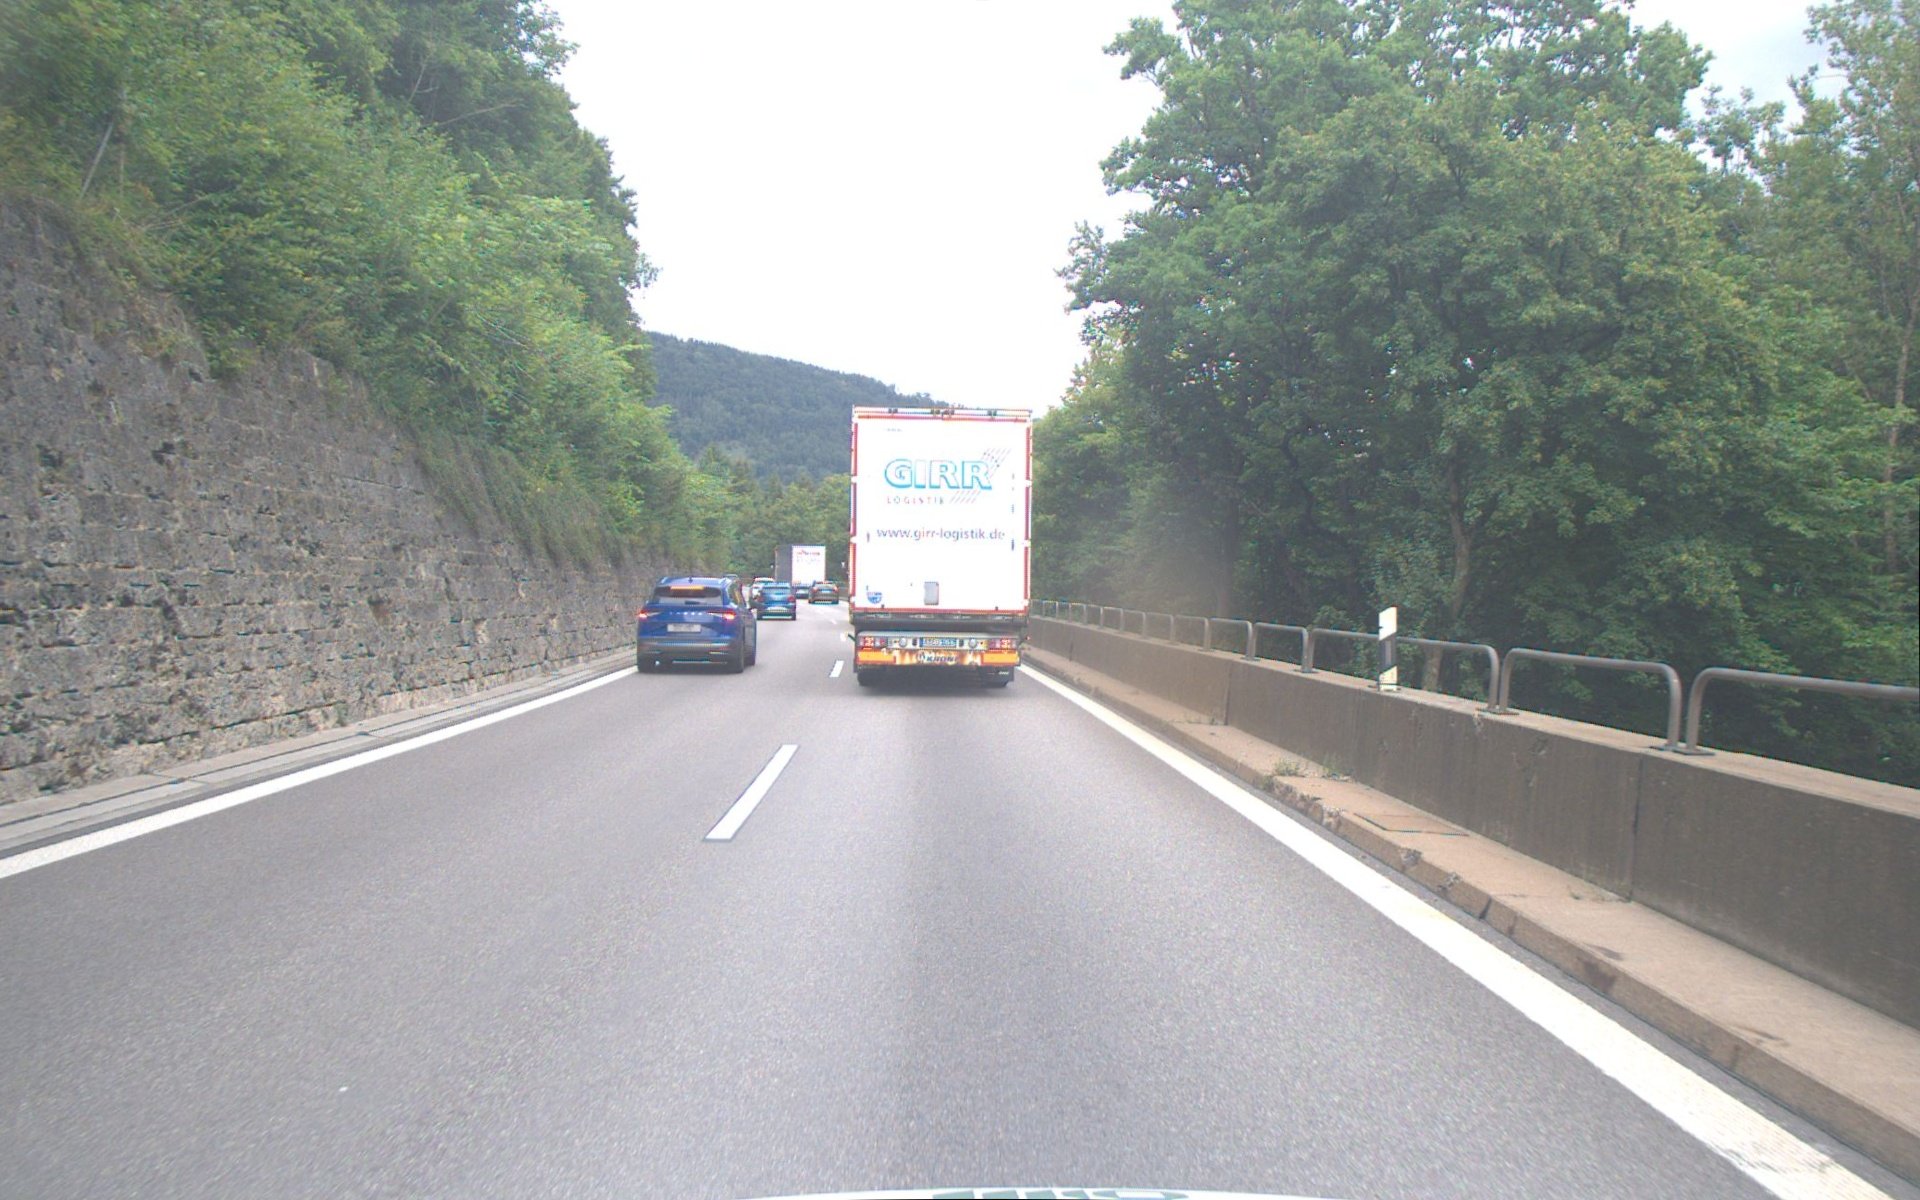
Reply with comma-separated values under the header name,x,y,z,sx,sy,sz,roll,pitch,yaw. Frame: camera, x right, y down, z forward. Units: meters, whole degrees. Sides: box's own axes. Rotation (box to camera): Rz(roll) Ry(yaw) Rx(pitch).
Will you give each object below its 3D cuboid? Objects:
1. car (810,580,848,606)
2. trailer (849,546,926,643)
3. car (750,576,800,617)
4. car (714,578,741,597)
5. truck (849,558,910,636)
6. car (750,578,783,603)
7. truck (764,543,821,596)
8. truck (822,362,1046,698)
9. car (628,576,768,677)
name,x,y,z,sx,sy,sz,roll,pitch,yaw
car,-8.446,-0.463,106.213,2.023,1.683,3.990,0,1,-10
trailer,-2.725,-0.222,59.492,2.169,3.101,11.126,1,0,-5
car,-7.718,-0.158,69.040,1.955,1.624,4.347,1,0,-7
car,-20.842,-1.138,148.312,1.866,1.577,4.232,1,1,-15
truck,-3.195,-0.121,64.702,2.165,2.901,4.999,1,0,-5
car,-12.849,-0.633,109.779,1.863,1.577,4.239,2,1,-11
truck,-13.011,-2.299,127.478,2.590,3.925,12.312,0,1,-14
truck,-0.564,-1.035,30.001,3.022,4.542,15.151,0,1,-2
car,-4.618,0.404,29.838,1.954,1.660,5.005,1,1,-3
